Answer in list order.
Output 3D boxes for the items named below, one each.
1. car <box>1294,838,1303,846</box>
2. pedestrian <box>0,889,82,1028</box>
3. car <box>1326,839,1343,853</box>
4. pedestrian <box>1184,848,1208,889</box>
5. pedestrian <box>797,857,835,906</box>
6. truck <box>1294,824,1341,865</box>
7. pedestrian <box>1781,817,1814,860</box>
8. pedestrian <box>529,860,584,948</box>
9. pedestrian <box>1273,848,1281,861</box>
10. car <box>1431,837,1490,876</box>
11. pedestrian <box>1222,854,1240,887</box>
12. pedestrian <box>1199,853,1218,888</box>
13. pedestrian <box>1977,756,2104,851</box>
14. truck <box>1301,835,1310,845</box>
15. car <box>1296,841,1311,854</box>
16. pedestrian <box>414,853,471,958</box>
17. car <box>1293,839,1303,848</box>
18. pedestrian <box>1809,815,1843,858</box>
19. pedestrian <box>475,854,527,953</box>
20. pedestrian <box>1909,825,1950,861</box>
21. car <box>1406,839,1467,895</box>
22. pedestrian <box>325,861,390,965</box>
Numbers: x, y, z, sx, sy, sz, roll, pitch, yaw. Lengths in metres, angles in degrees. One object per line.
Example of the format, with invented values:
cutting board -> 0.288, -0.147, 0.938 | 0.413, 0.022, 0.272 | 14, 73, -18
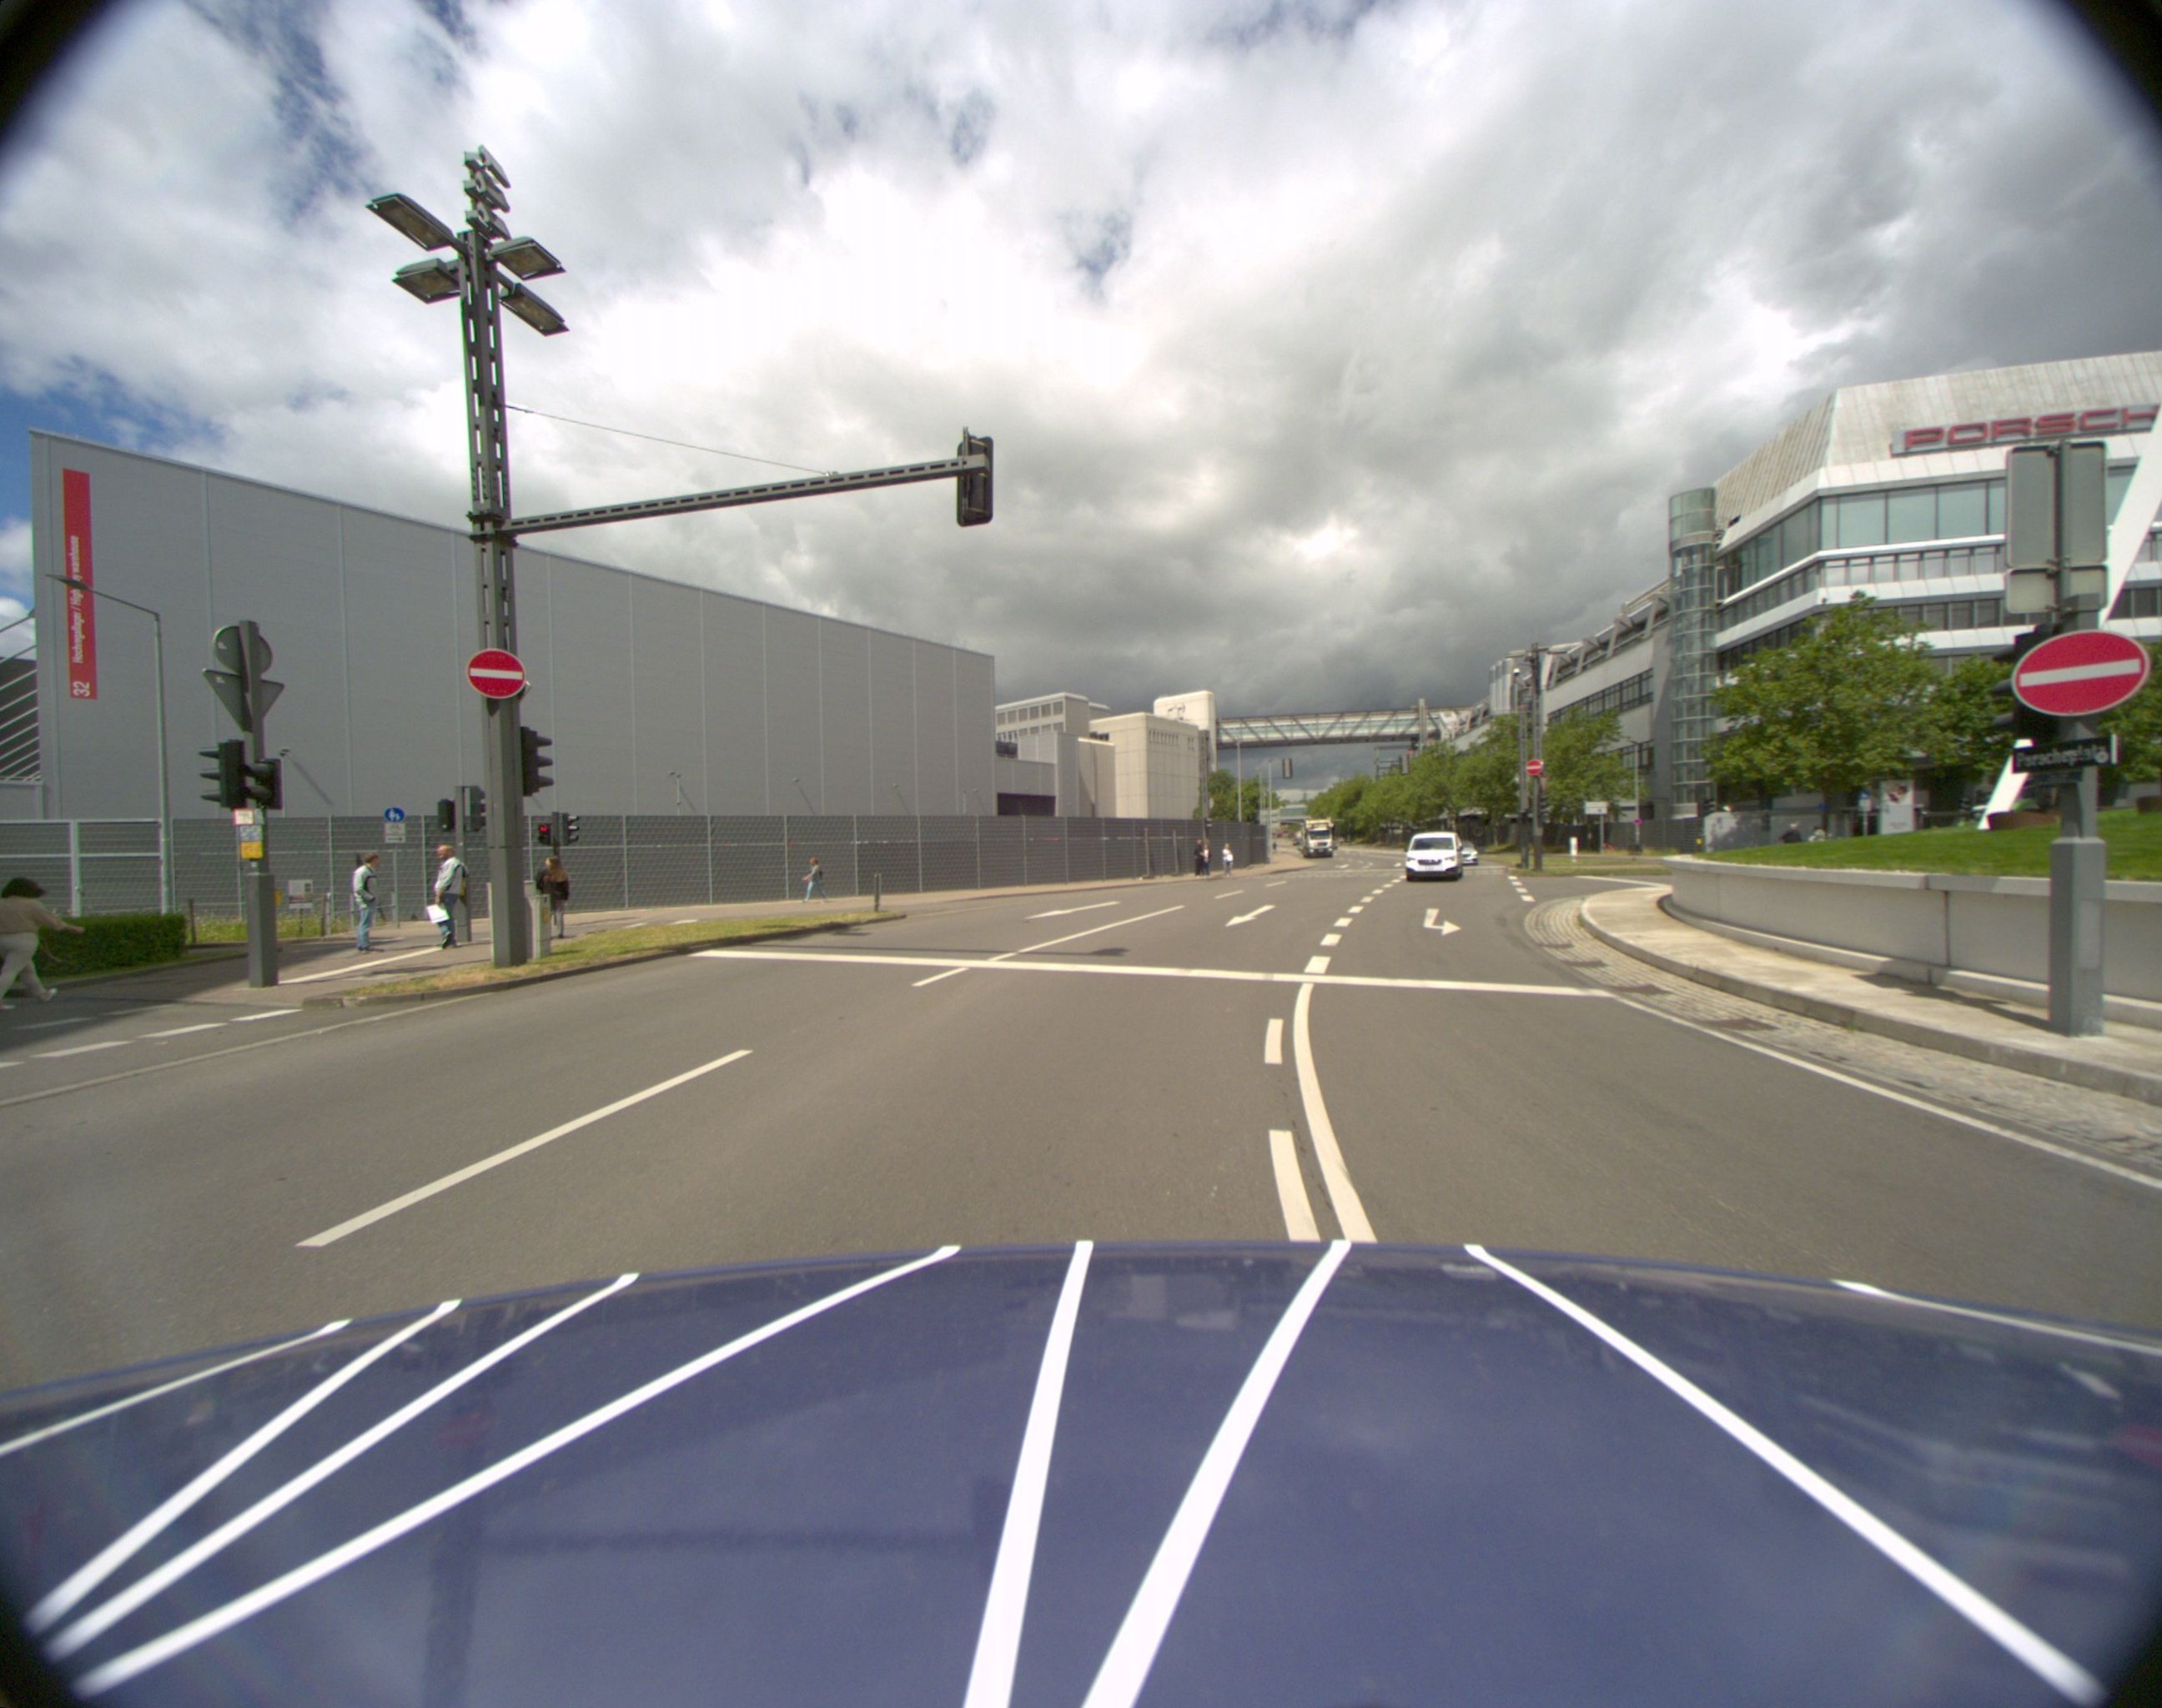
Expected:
car -> 57.272, -3.216, 199.855 | 1.870, 1.944, 4.714 | -3, 1, 13
pedestrian -> -12.133, 1.171, 8.607 | 0.583, 1.488, 0.770 | -3, 2, -21
car -> 39.296, -1.184, 117.892 | 1.870, 1.944, 4.714 | -3, 1, 13
pedestrian -> 5.398, 0.692, 35.637 | 0.794, 1.856, 0.660 | -4, 2, -26
pedestrian -> -9.050, 0.936, 25.985 | 0.693, 1.577, 0.922 | -2, 2, 44
truck -> 24.470, -1.026, 79.109 | 2.711, 3.863, 10.745 | -2, 1, 7
pedestrian -> 35.045, -0.773, 37.184 | 0.953, 2.043, 0.952 | -2, 2, 30
pedestrian -> -10.214, 0.955, 14.807 | 0.618, 1.629, 0.674 | -2, 2, 44
pedestrian -> 26.044, 0.037, 100.895 | 0.796, 1.711, 0.732 | -3, 1, 8
car -> 21.475, 0.109, 43.191 | 1.870, 1.944, 4.714 | -3, 1, 13
pedestrian -> 7.600, 0.832, 38.487 | 0.660, 1.599, 0.824 | -2, 2, 23
pedestrian -> 6.042, 0.795, 36.033 | 0.664, 1.606, 0.464 | -4, 2, -27
pedestrian -> 19.005, -0.971, 15.080 | 1.285, 1.806, 0.986 | 0, 1, -5
truck -> 73.123, -4.640, 247.422 | 2.456, 3.111, 7.249 | -3, 1, 14
car -> 36.169, -1.116, 123.626 | 1.870, 1.944, 4.714 | -3, 1, 13
pedestrian -> -11.672, 0.915, 13.907 | 0.621, 1.836, 0.671 | -4, 2, -34
car -> 50.183, -2.387, 175.629 | 1.870, 1.944, 4.714 | -3, 1, 13
pedestrian -> 36.387, -0.852, 37.117 | 0.953, 2.043, 0.952 | -2, 2, 30
pedestrian -> -10.968, 0.911, 14.385 | 0.621, 1.784, 0.671 | -4, 2, -32
pedestrian -> 42.685, -0.557, 38.220 | 0.865, 1.763, 1.035 | -3, 1, -2
car -> 13.885, 0.437, 29.558 | 1.821, 2.002, 4.399 | -2, 0, 29
pedestrian -> -12.696, 1.008, 13.354 | 0.621, 1.749, 0.605 | -4, 2, -32
